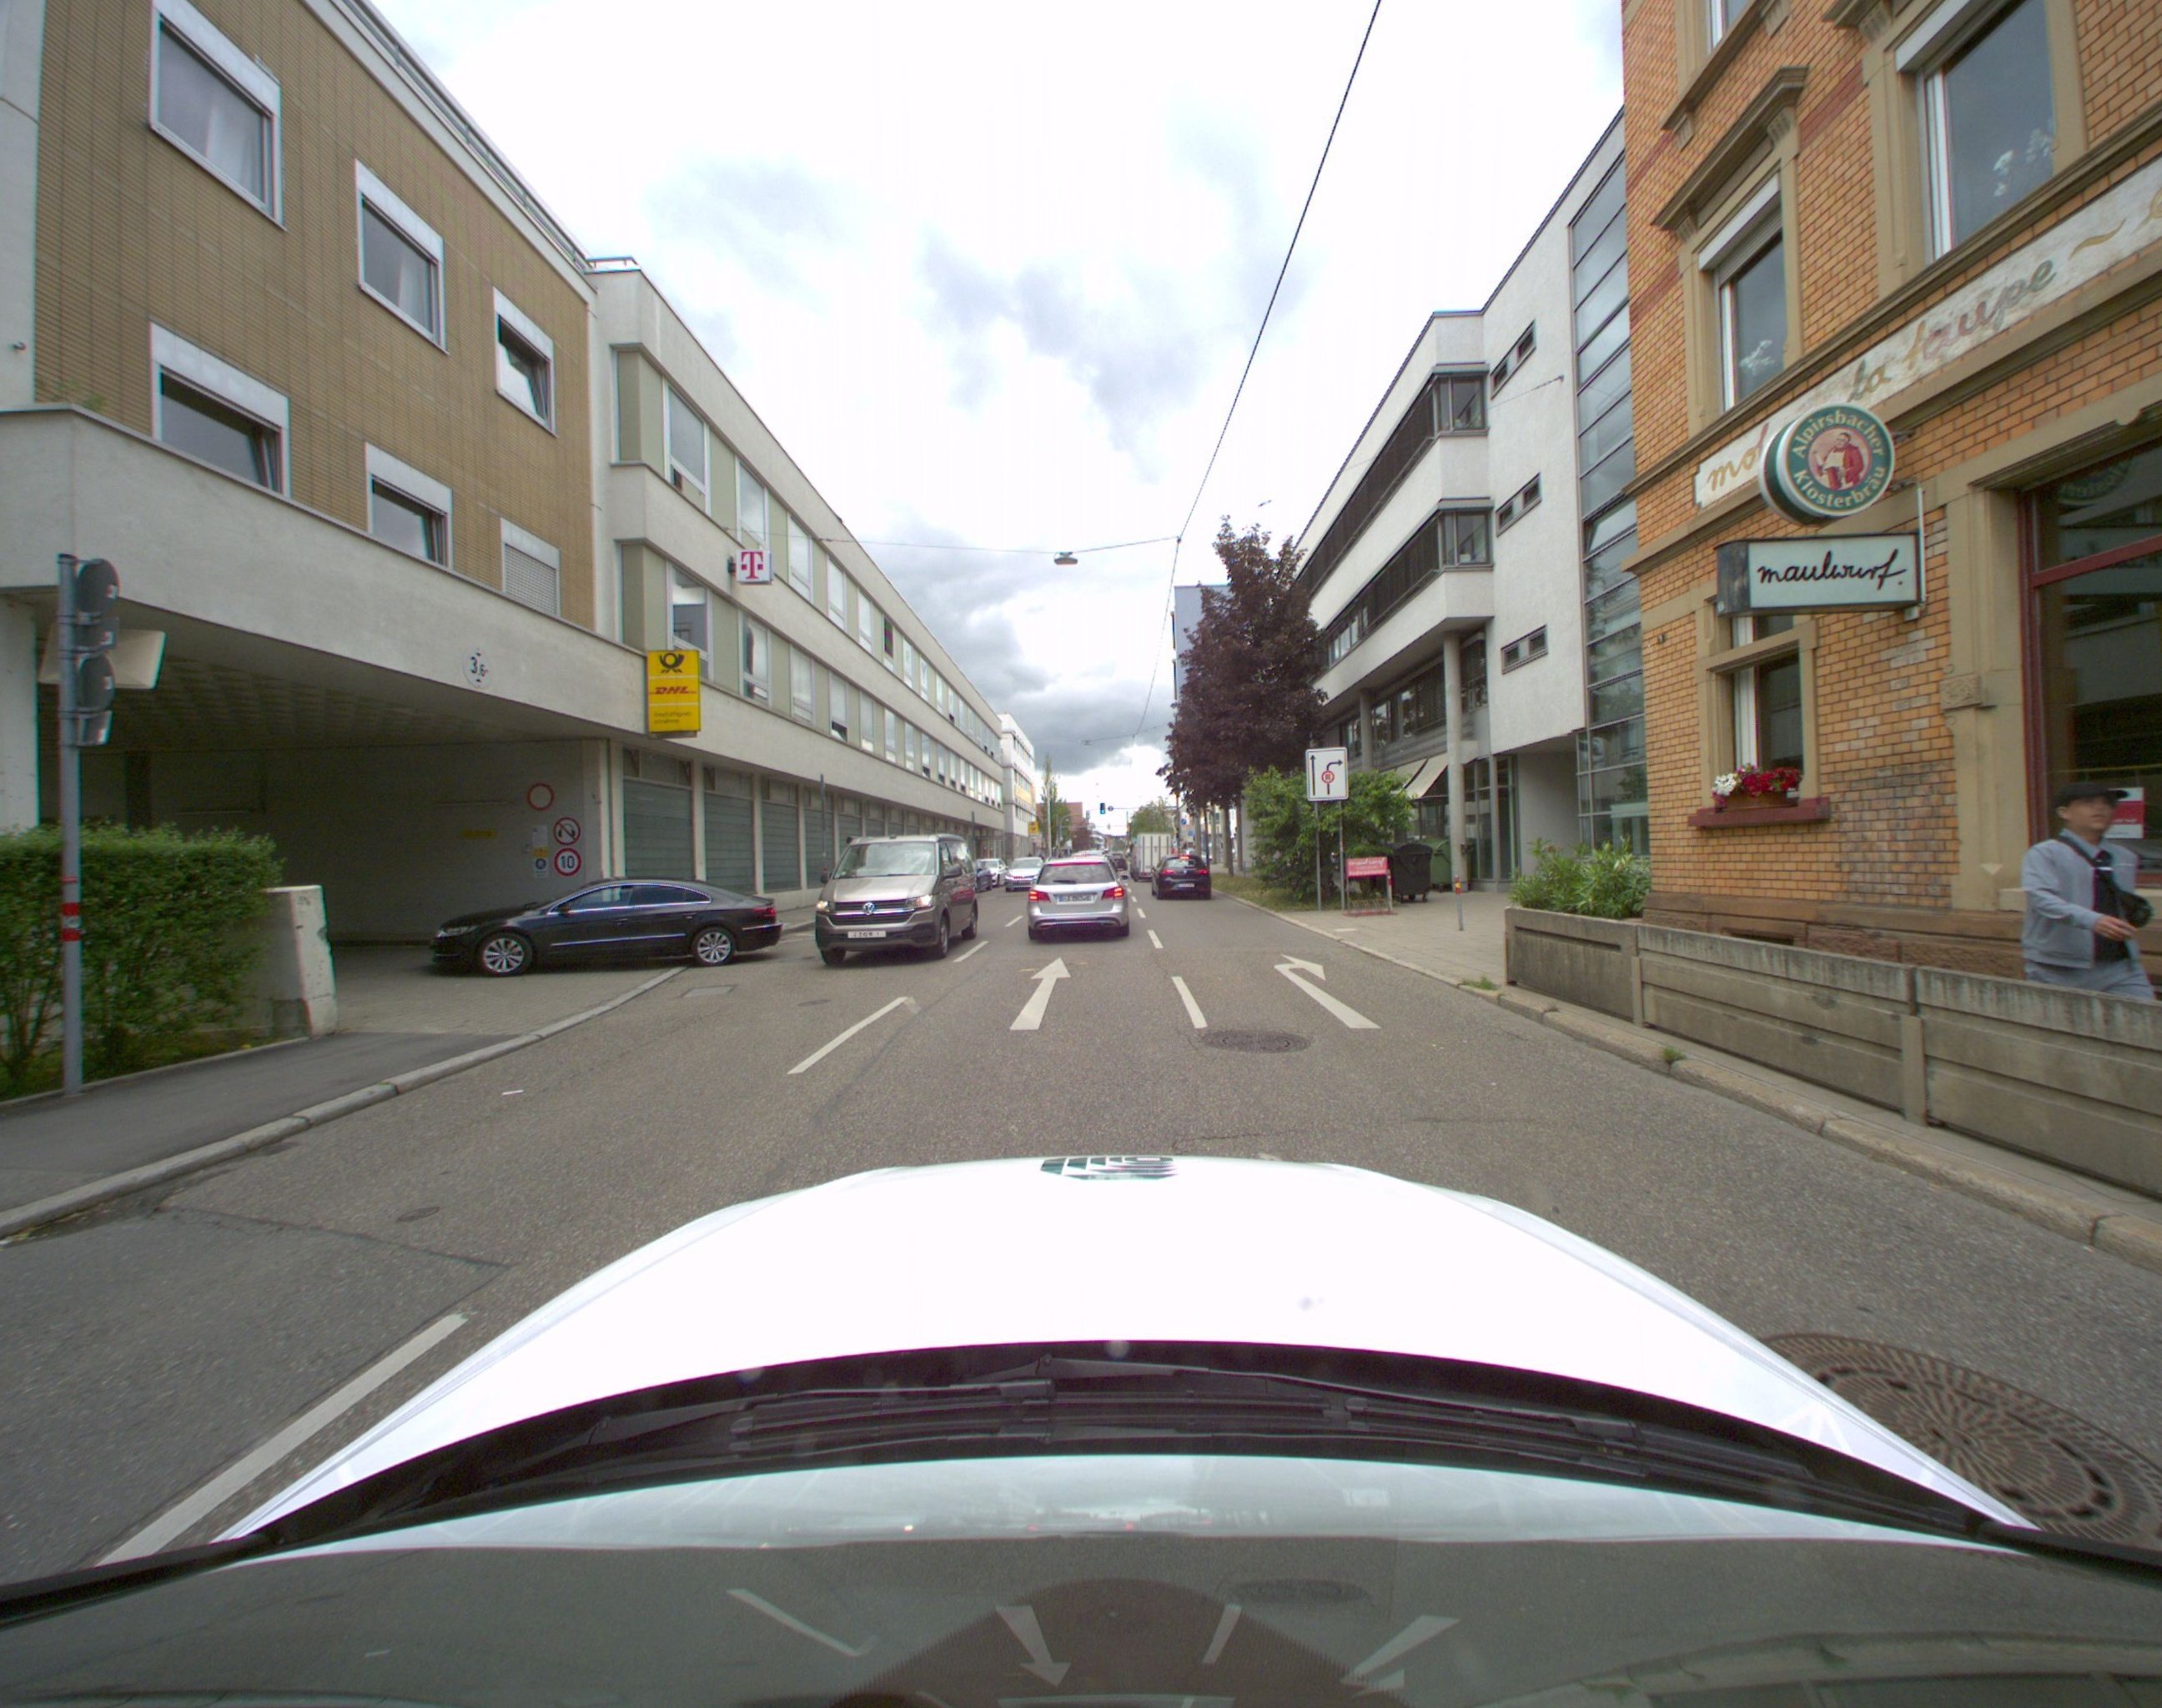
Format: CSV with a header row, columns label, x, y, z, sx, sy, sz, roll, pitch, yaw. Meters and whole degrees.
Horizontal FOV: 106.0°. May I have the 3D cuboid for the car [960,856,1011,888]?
label,x,y,z,sx,sy,sz,roll,pitch,yaw
car,-4.870,0.894,42.090,1.986,1.517,4.176,-2,0,1

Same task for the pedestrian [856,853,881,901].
label,x,y,z,sx,sy,sz,roll,pitch,yaw
pedestrian,-8.013,0.840,30.734,0.640,1.769,0.810,-2,0,2

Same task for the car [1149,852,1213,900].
label,x,y,z,sx,sy,sz,roll,pitch,yaw
car,3.249,0.670,27.142,1.759,1.433,3.830,-2,0,2

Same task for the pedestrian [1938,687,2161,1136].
label,x,y,z,sx,sy,sz,roll,pitch,yaw
pedestrian,4.945,0.250,4.004,0.691,2.013,0.677,-2,0,0

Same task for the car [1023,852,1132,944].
label,x,y,z,sx,sy,sz,roll,pitch,yaw
car,-0.010,0.739,15.655,1.797,1.492,3.739,-2,0,1

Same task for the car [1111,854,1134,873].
label,x,y,z,sx,sy,sz,roll,pitch,yaw
car,3.517,0.779,69.164,1.797,1.601,3.739,-1,0,1

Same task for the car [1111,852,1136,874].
label,x,y,z,sx,sy,sz,roll,pitch,yaw
car,3.204,0.663,61.833,1.797,1.601,3.739,-1,0,1

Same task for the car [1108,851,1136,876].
label,x,y,z,sx,sy,sz,roll,pitch,yaw
car,2.743,0.631,54.772,1.797,1.601,3.739,-1,0,1

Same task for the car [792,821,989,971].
label,x,y,z,sx,sy,sz,roll,pitch,yaw
car,-2.981,0.594,14.002,1.986,2.013,4.904,-3,0,1

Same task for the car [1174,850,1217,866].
label,x,y,z,sx,sy,sz,roll,pitch,yaw
car,11.391,0.390,80.997,4.013,1.651,1.826,0,0,-31

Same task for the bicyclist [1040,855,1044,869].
label,x,y,z,sx,sy,sz,roll,pitch,yaw
bicyclist,-4.735,0.979,99.219,0.443,1.697,0.556,0,-1,1

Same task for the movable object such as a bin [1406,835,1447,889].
label,x,y,z,sx,sy,sz,roll,pitch,yaw
movable object such as a bin,10.212,0.231,24.071,0.817,1.504,0.732,-4,-1,3

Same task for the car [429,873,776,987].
label,x,y,z,sx,sy,sz,roll,pitch,yaw
car,-7.287,1.069,12.889,4.423,1.365,1.770,-2,0,-28

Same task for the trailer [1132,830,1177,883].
label,x,y,z,sx,sy,sz,roll,pitch,yaw
trailer,3.813,0.113,43.112,1.986,2.607,5.351,-2,0,1

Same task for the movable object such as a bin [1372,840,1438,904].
label,x,y,z,sx,sy,sz,roll,pitch,yaw
movable object such as a bin,7.924,0.429,19.985,0.940,1.470,1.445,-3,0,-1

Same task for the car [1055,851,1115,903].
label,x,y,z,sx,sy,sz,roll,pitch,yaw
car,0.183,0.708,26.932,1.797,1.553,3.739,-2,0,1

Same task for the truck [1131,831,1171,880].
label,x,y,z,sx,sy,sz,roll,pitch,yaw
truck,3.884,0.097,45.943,1.986,2.607,3.261,-2,0,1

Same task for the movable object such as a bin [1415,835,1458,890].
label,x,y,z,sx,sy,sz,roll,pitch,yaw
movable object such as a bin,10.179,0.252,23.314,0.817,1.490,0.732,-4,-1,3

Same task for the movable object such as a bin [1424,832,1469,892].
label,x,y,z,sx,sy,sz,roll,pitch,yaw
movable object such as a bin,10.120,0.227,22.559,0.817,1.589,0.732,-4,-1,3

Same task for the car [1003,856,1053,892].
label,x,y,z,sx,sy,sz,roll,pitch,yaw
car,-2.324,0.835,36.527,1.762,1.413,4.176,-3,0,1

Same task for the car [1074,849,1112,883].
label,x,y,z,sx,sy,sz,roll,pitch,yaw
car,0.624,0.571,40.797,1.797,1.601,3.739,-1,0,1

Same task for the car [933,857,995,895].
label,x,y,z,sx,sy,sz,roll,pitch,yaw
car,-5.143,0.925,36.386,1.986,1.517,4.176,-2,0,1

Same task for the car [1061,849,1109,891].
label,x,y,z,sx,sy,sz,roll,pitch,yaw
car,0.212,0.600,33.013,1.797,1.601,3.739,-1,0,1

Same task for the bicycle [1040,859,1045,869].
label,x,y,z,sx,sy,sz,roll,pitch,yaw
bicycle,-4.729,1.229,99.141,0.443,1.167,1.921,0,0,2

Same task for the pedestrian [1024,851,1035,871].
label,x,y,z,sx,sy,sz,roll,pitch,yaw
pedestrian,-4.980,0.679,79.248,0.915,1.869,0.783,-2,0,1
